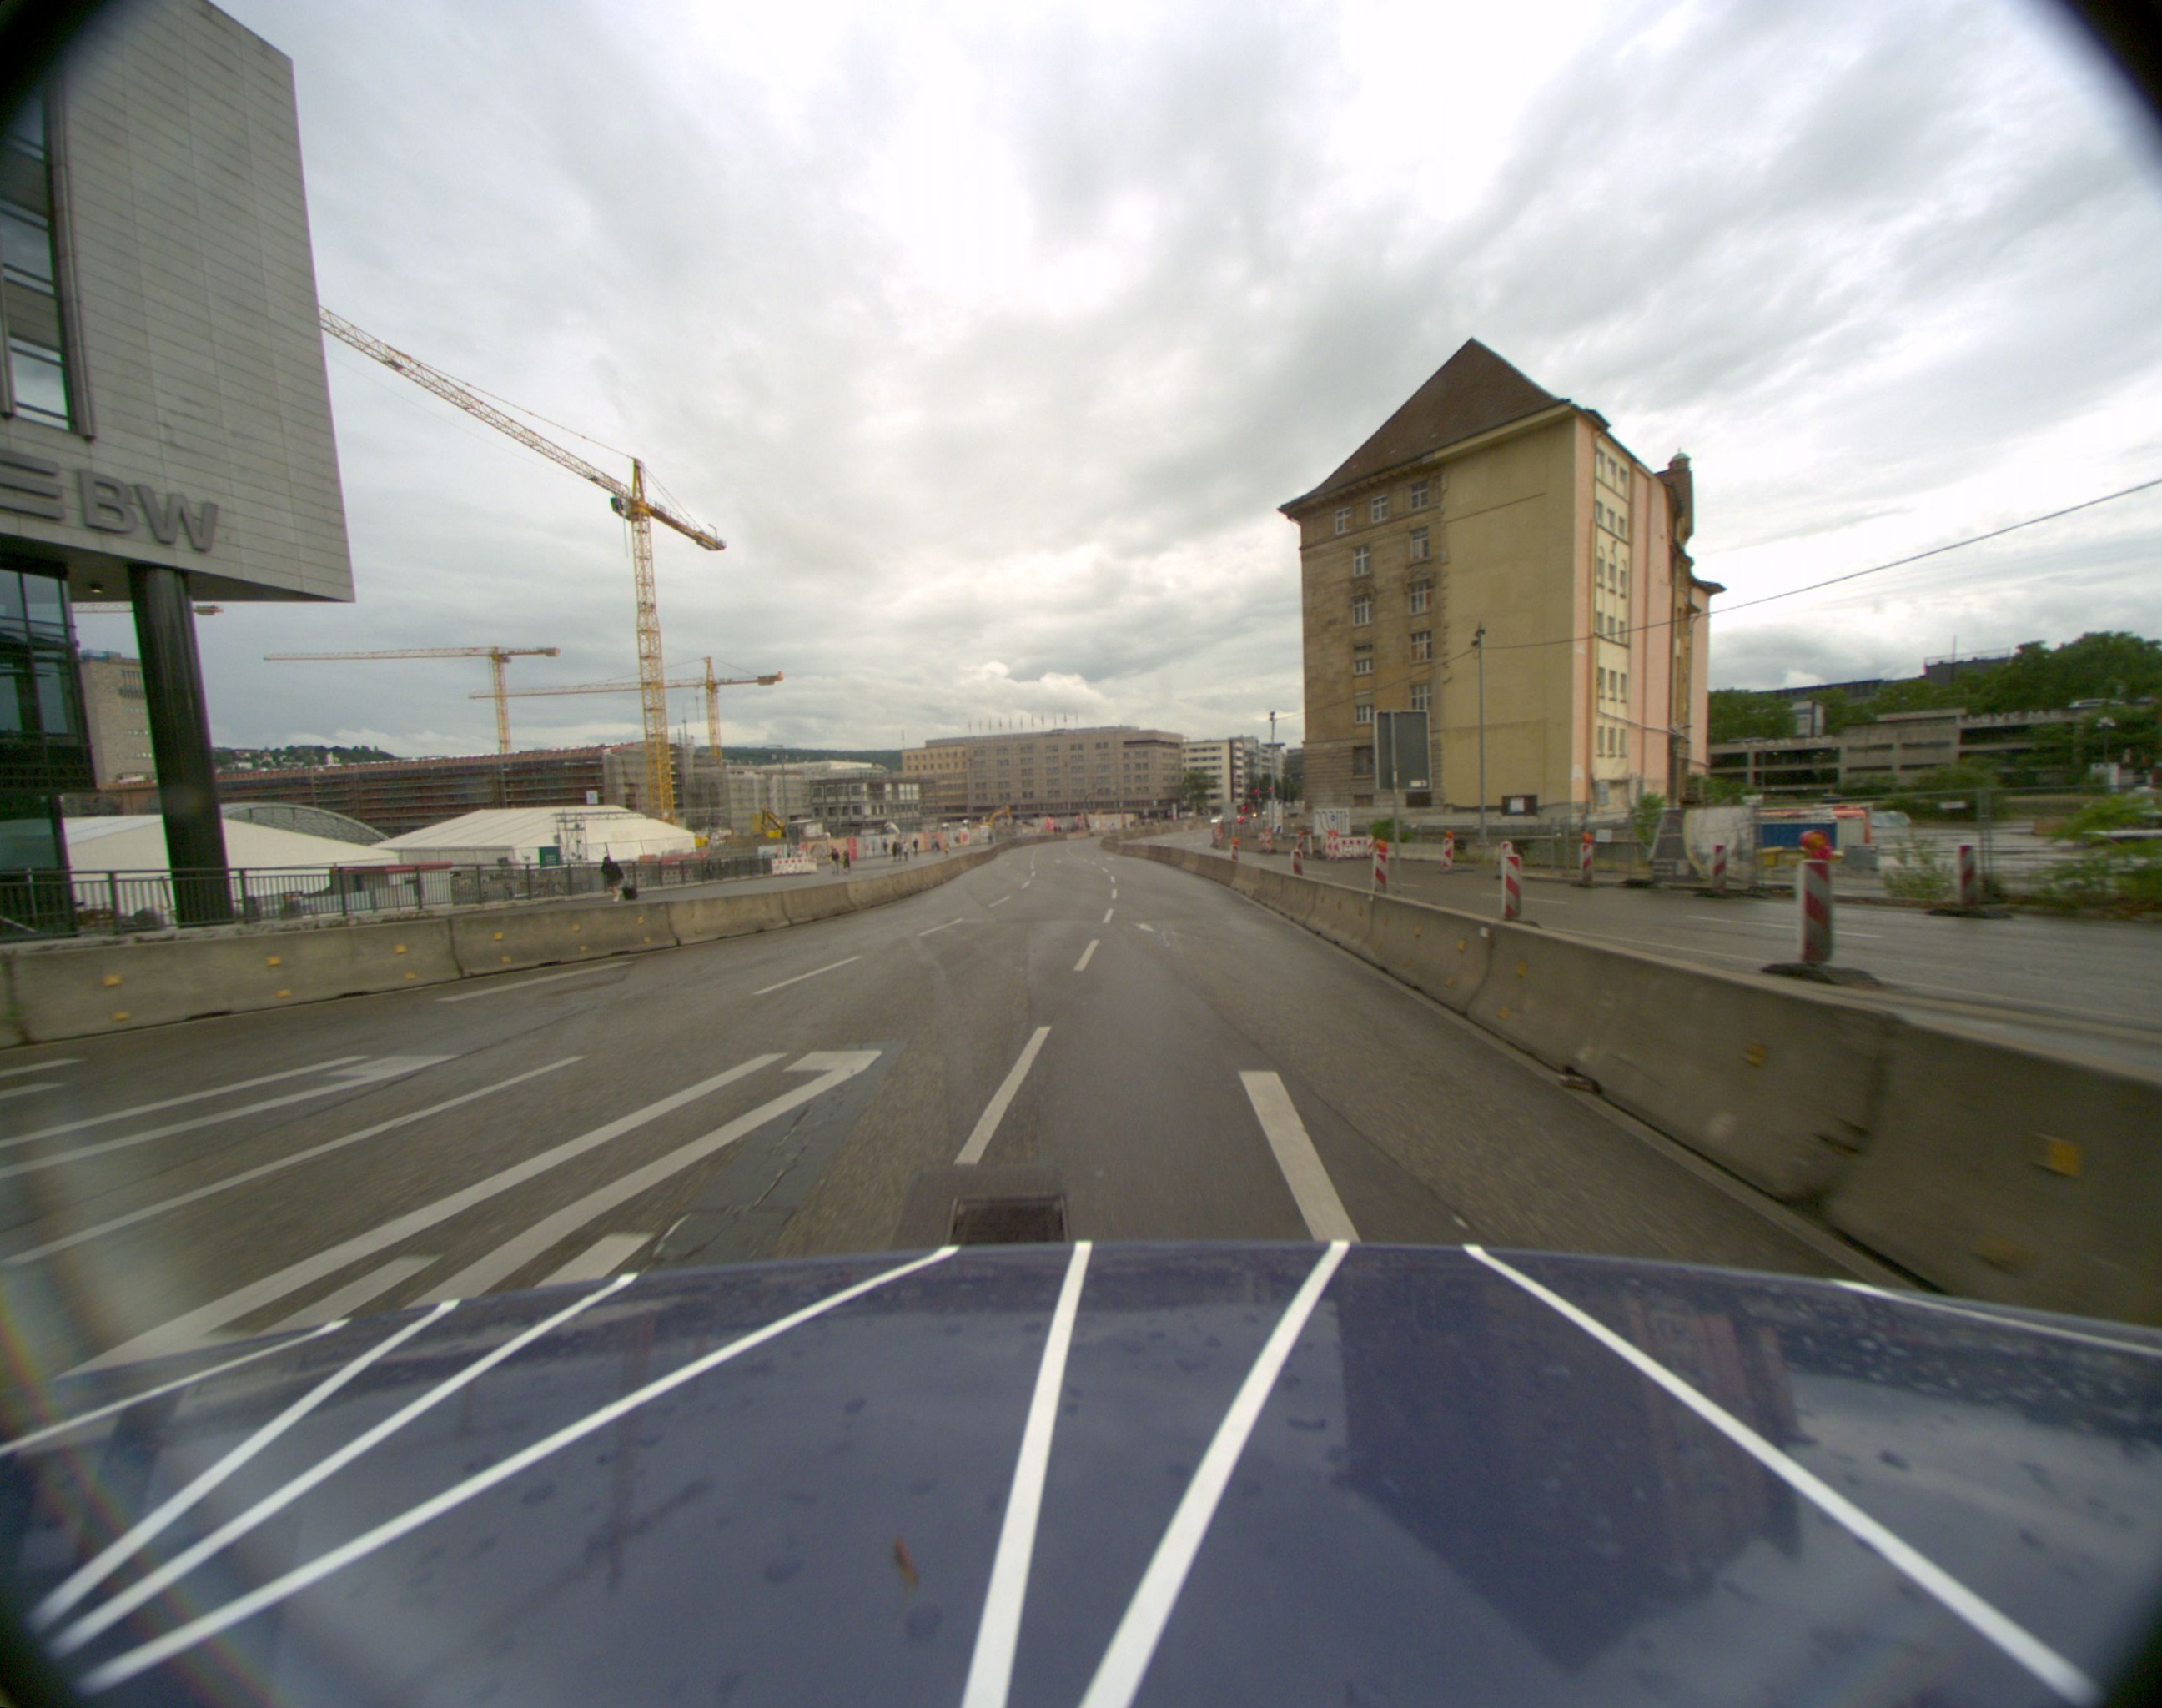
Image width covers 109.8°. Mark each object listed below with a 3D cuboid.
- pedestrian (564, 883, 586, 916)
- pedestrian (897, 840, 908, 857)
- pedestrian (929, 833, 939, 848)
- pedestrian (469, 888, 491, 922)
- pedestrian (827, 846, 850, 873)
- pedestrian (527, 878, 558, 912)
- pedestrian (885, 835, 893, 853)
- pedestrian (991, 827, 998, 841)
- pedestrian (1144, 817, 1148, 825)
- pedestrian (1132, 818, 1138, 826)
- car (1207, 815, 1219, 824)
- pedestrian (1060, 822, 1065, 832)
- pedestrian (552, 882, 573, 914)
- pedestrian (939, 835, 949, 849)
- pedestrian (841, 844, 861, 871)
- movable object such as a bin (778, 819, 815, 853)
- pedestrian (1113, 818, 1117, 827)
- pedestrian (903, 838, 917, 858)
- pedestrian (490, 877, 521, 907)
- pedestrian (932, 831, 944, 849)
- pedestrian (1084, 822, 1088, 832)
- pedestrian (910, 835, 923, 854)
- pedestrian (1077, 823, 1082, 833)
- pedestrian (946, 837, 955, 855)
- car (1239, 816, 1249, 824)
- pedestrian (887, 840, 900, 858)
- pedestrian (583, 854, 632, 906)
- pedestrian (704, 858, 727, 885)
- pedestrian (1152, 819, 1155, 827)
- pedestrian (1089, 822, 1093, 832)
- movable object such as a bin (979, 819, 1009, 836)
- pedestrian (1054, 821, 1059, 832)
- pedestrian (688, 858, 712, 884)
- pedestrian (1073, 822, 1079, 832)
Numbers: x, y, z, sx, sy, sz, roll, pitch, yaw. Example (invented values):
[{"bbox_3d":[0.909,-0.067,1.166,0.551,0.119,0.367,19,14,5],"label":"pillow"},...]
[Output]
[{"bbox_3d":[-26.773,2.387,40.186,0.772,1.628,0.602,-6,6,-45],"label":"pedestrian"},{"bbox_3d":[-16.481,-0.526,70.234,0.609,1.514,0.886,-1,4,16],"label":"pedestrian"},{"bbox_3d":[-16.174,-1.516,83.759,0.647,1.646,0.767,1,5,33],"label":"pedestrian"},{"bbox_3d":[-30.337,2.564,38.352,0.704,1.607,0.566,0,5,30],"label":"pedestrian"},{"bbox_3d":[-15.045,0.319,47.071,0.861,1.585,0.953,0,4,24],"label":"pedestrian"},{"bbox_3d":[-29.669,2.250,41.865,0.771,1.774,1.009,0,4,26],"label":"pedestrian"},{"bbox_3d":[-19.375,-1.015,76.708,0.567,1.739,0.495,-1,4,15],"label":"pedestrian"},{"bbox_3d":[-11.238,-2.590,98.403,0.746,1.697,0.687,0,4,11],"label":"pedestrian"},{"bbox_3d":[13.619,-6.950,159.981,0.756,1.752,0.766,0,4,8],"label":"pedestrian"},{"bbox_3d":[11.234,-6.724,158.356,1.097,1.752,0.907,1,4,24],"label":"pedestrian"},{"bbox_3d":[30.922,-8.117,177.516,1.995,2.002,4.005,0,1,20],"label":"car"},{"bbox_3d":[-2.897,-4.287,120.616,0.648,1.638,0.947,0,4,10],"label":"pedestrian"},{"bbox_3d":[-28.168,2.381,41.282,0.753,1.628,0.586,-6,6,-45],"label":"pedestrian"},{"bbox_3d":[-15.176,-1.347,83.949,0.647,1.545,0.767,1,5,33],"label":"pedestrian"},{"bbox_3d":[-14.239,0.206,47.056,0.732,1.566,0.806,-1,4,24],"label":"pedestrian"},{"bbox_3d":[-30.556,-1.944,81.618,1.941,3.391,4.229,-2,4,4],"label":"movable object such as a bin"},{"bbox_3d":[6.442,-5.954,144.543,0.648,1.661,0.766,0,4,8],"label":"pedestrian"},{"bbox_3d":[-15.816,-0.557,70.267,0.778,1.714,0.892,-1,4,16],"label":"pedestrian"},{"bbox_3d":[-32.300,2.113,42.673,0.866,1.545,1.009,0,4,26],"label":"pedestrian"},{"bbox_3d":[-15.358,-1.496,81.475,0.818,1.839,0.933,1,5,33],"label":"pedestrian"},{"bbox_3d":[0.810,-4.622,130.453,0.585,1.699,0.677,0,4,8],"label":"pedestrian"},{"bbox_3d":[-16.592,-0.956,76.654,0.867,1.808,1.009,-1,4,16],"label":"pedestrian"},{"bbox_3d":[-0.273,-4.377,126.680,0.654,1.682,0.776,1,4,21],"label":"pedestrian"},{"bbox_3d":[-12.735,-0.780,74.160,0.649,1.624,0.907,-2,4,-3],"label":"pedestrian"},{"bbox_3d":[34.820,-7.185,162.017,1.768,1.513,4.389,-1,4,17],"label":"car"},{"bbox_3d":[-17.300,-0.483,70.075,0.715,1.545,1.009,-1,4,16],"label":"pedestrian"},{"bbox_3d":[-15.788,0.840,25.352,0.730,1.643,1.062,-1,3,24],"label":"pedestrian"},{"bbox_3d":[-24.903,1.192,51.776,0.866,1.716,1.009,0,4,26],"label":"pedestrian"},{"bbox_3d":[16.037,-6.847,167.050,0.653,1.752,0.548,0,4,8],"label":"pedestrian"},{"bbox_3d":[1.774,-4.690,132.491,0.648,1.752,0.583,0,4,8],"label":"pedestrian"},{"bbox_3d":[-13.690,-4.195,119.009,4.135,2.522,1.994,-5,5,-38],"label":"movable object such as a bin"},{"bbox_3d":[-3.863,-4.298,120.578,0.648,1.734,0.766,0,4,10],"label":"pedestrian"},{"bbox_3d":[-26.110,1.183,52.091,0.866,1.680,1.009,0,4,26],"label":"pedestrian"},{"bbox_3d":[-0.794,-4.380,123.221,0.654,1.682,0.776,1,4,21],"label":"pedestrian"}]
